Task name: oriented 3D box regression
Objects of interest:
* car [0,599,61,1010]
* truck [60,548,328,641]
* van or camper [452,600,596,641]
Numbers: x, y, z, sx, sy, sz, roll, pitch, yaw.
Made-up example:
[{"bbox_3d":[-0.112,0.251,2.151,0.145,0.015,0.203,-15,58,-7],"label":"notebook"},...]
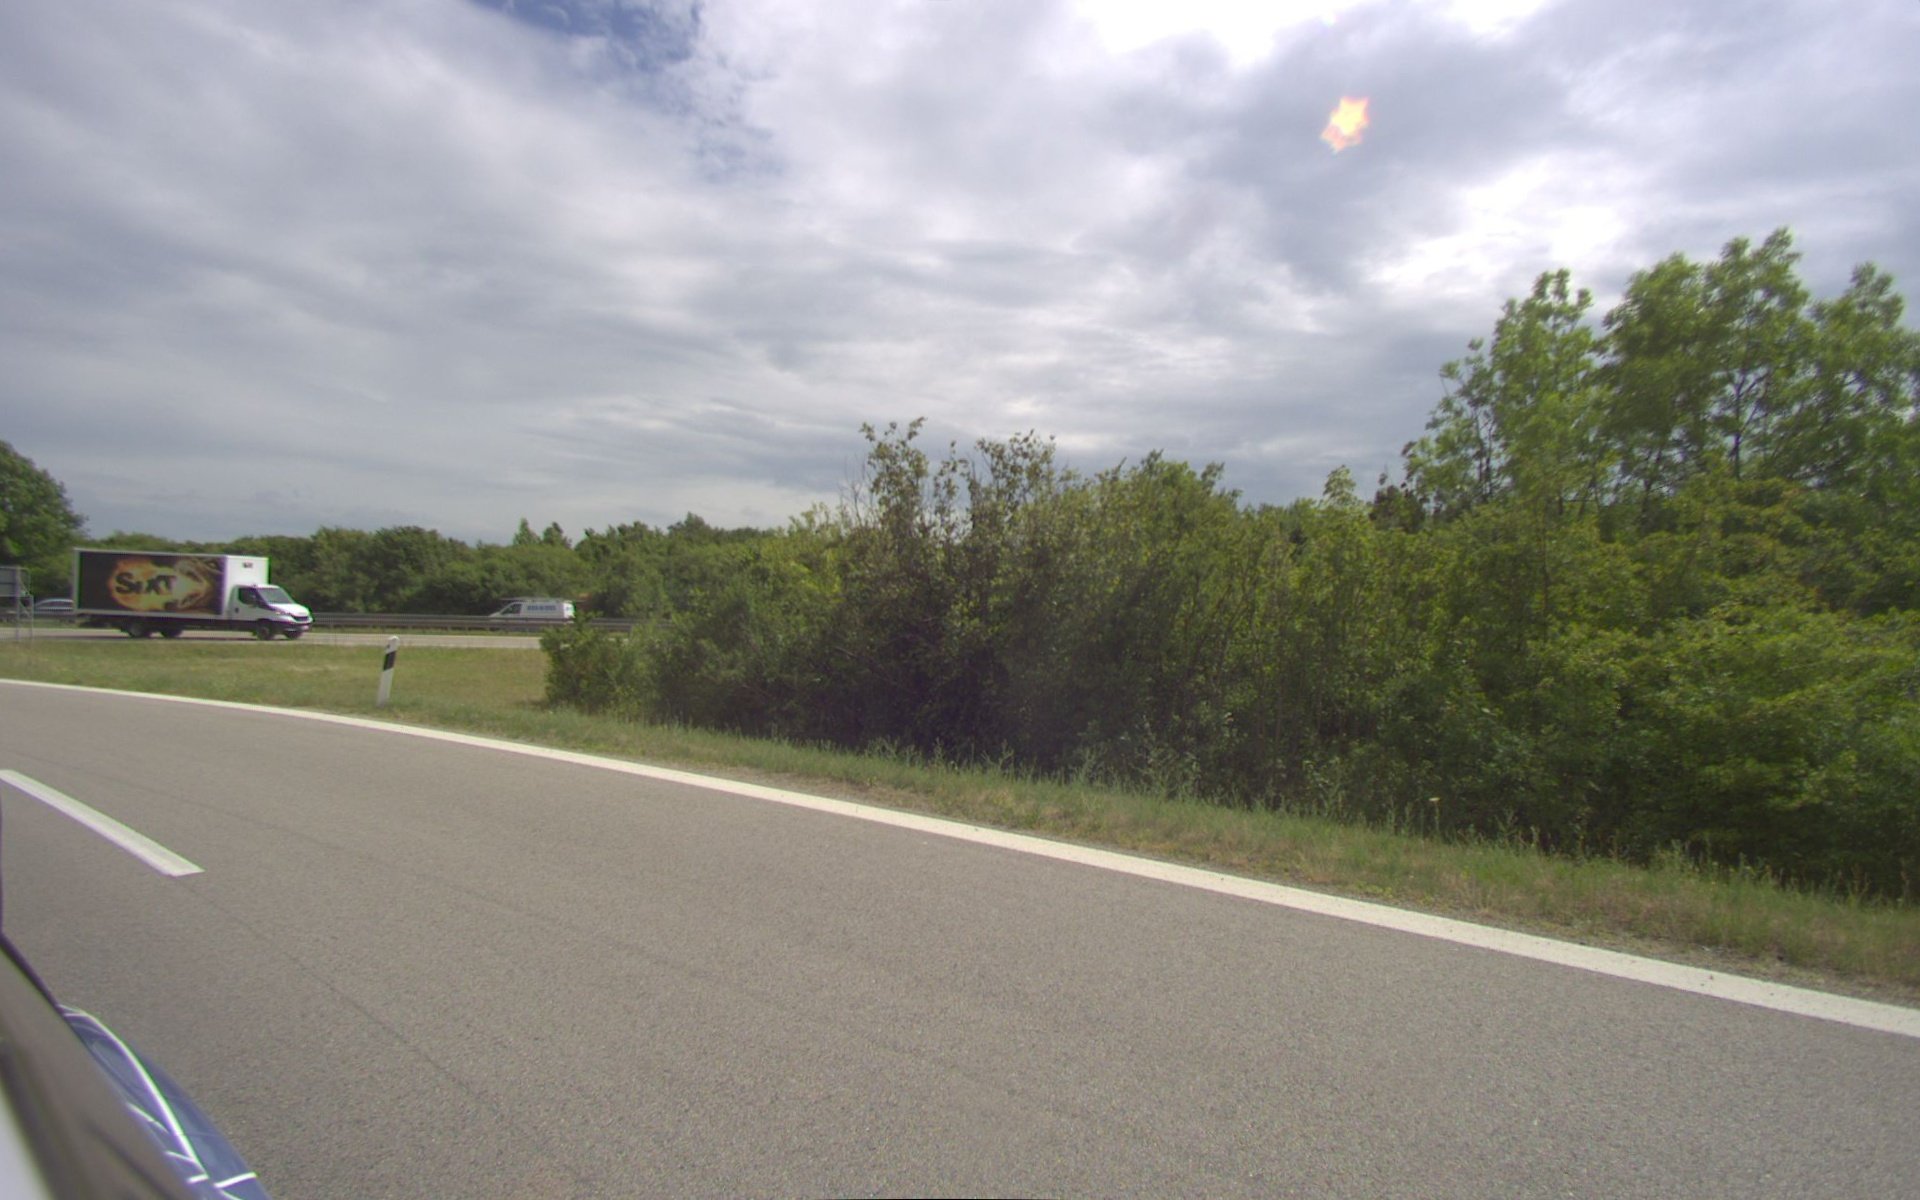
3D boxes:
[{"bbox_3d":[-5.807,0.774,4.609,4.535,1.526,1.973,0,0,41],"label":"car"},{"bbox_3d":[-31.264,-0.233,41.567,8.820,3.614,2.893,1,0,0],"label":"truck"},{"bbox_3d":[-24.966,1.199,58.203,7.228,2.145,2.232,1,-2,-4],"label":"van or camper"}]
